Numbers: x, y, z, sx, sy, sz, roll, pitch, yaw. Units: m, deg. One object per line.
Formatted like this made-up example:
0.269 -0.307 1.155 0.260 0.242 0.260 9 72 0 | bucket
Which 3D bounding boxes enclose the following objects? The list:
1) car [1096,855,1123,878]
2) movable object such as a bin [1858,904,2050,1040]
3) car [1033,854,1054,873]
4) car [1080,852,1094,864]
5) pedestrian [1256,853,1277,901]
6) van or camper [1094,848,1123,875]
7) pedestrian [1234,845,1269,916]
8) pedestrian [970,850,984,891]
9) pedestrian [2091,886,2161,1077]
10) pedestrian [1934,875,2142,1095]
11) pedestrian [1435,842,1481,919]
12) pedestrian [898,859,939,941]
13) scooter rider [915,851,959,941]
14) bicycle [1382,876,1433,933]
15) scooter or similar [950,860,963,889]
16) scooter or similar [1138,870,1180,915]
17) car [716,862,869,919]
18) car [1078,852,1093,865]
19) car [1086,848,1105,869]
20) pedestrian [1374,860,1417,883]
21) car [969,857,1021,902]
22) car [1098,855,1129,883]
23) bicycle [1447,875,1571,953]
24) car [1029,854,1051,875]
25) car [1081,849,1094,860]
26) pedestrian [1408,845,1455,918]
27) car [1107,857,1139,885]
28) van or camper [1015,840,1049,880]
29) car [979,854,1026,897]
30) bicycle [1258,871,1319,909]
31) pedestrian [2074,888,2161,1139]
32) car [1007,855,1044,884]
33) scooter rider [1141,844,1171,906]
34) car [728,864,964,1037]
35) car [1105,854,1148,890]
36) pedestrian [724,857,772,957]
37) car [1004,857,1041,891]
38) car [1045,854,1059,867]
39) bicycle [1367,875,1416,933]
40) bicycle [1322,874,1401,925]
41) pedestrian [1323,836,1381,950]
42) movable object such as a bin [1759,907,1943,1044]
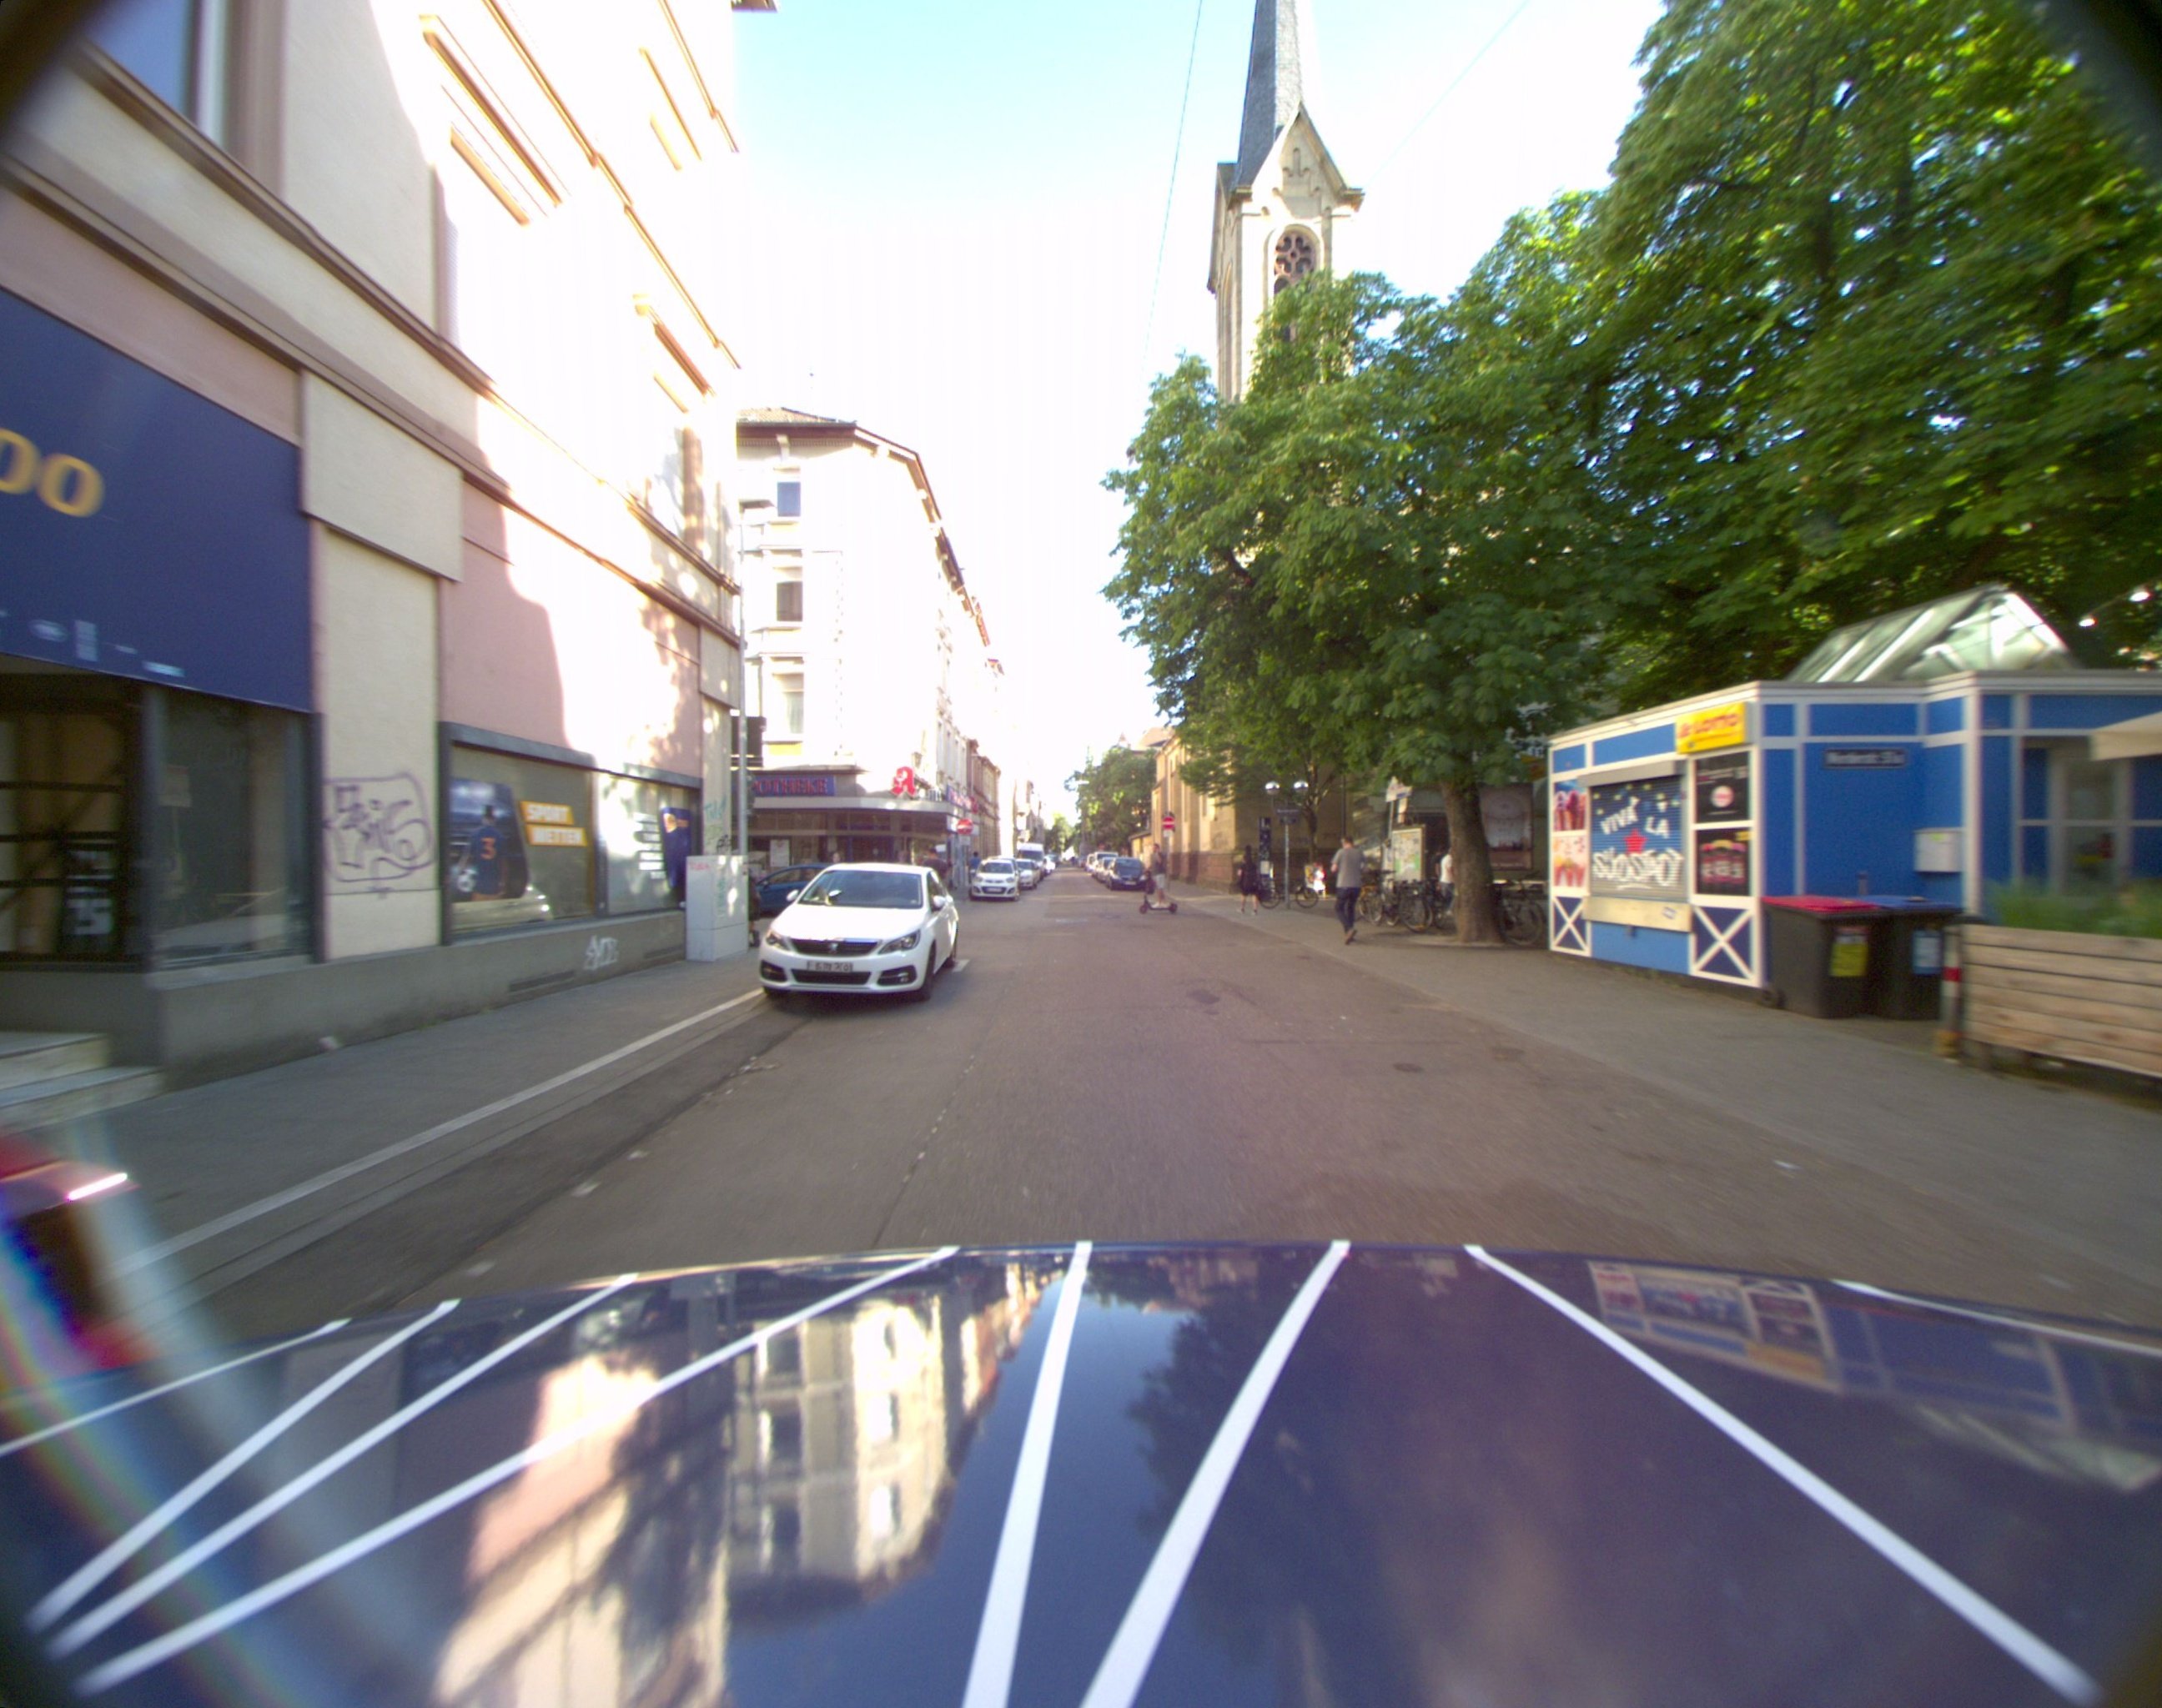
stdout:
1.944 0.819 52.306 1.696 1.472 3.736 -1 0 -1 | car
7.797 1.026 6.825 0.872 1.080 0.745 -1 1 0 | movable object such as a bin
-3.351 0.823 68.559 1.696 1.615 3.962 -1 0 -1 | car
0.799 0.593 108.347 1.777 1.614 4.021 -1 0 -2 | car
6.281 0.759 25.780 0.480 1.584 0.714 -1 1 -4 | pedestrian
2.066 0.548 58.206 1.984 1.939 4.562 -1 0 -1 | van or camper
4.571 0.686 20.389 0.718 1.862 0.720 -1 1 -1 | pedestrian
-4.945 0.778 36.023 0.563 1.883 0.530 -1 1 -2 | pedestrian
7.984 0.908 5.434 0.707 1.323 0.617 -1 1 -2 | pedestrian
6.758 0.887 5.402 0.707 1.437 0.617 -1 1 -2 | pedestrian
9.184 0.628 18.529 0.763 1.825 0.688 -1 1 -3 | pedestrian
-3.355 0.935 15.698 0.527 1.629 0.566 0 2 43 | pedestrian
-2.912 0.830 15.367 0.609 1.768 0.566 0 2 39 | scooter rider
6.477 0.973 15.121 0.293 1.040 1.578 -1 -1 -1 | bicycle
-5.664 0.918 34.618 0.396 1.272 1.036 -1 1 -1 | scooter or similar
2.130 1.048 20.715 1.057 1.153 0.514 -1 1 -2 | scooter or similar
-7.966 0.989 21.248 3.583 1.477 1.788 0 1 -1 | car
0.601 0.609 103.688 1.777 1.614 4.021 -1 0 -2 | car
1.513 0.458 79.723 1.777 2.128 4.022 -1 0 -1 | car
11.418 0.640 27.663 0.959 0.756 1.406 -1 1 -1 | pedestrian
-3.120 0.882 28.165 1.694 1.454 3.639 -1 1 -4 | car
1.960 0.879 47.046 1.724 1.558 3.999 -1 1 0 | car
7.033 0.943 12.623 0.499 1.124 2.035 -2 0 -14 | bicycle
-3.373 0.851 63.147 1.696 1.615 3.813 -1 0 -1 | car
0.978 0.131 114.198 1.777 1.614 4.021 -1 0 -2 | car
8.935 0.677 19.399 0.695 1.815 1.003 -1 1 -3 | pedestrian
2.264 0.888 41.909 1.576 1.356 4.145 -1 1 0 | car
-3.411 0.374 54.174 1.999 2.617 5.978 -1 1 -1 | van or camper
-3.349 0.870 33.045 1.704 1.641 4.062 -1 1 -2 | car
6.129 1.067 22.410 1.694 1.059 0.346 -1 1 -3 | bicycle
6.659 0.943 4.519 0.707 1.437 0.617 -1 1 -2 | pedestrian
-3.468 0.947 48.316 1.999 1.637 4.562 -1 1 -1 | car
2.048 0.558 20.769 0.689 1.638 0.720 -1 1 -2 | scooter rider
-2.566 0.952 9.367 1.792 1.507 4.134 -1 1 -3 | car
2.178 0.834 36.922 1.799 1.543 3.833 -1 1 -1 | car
-5.571 0.872 12.715 0.599 1.640 0.466 -1 -2 30 | pedestrian
-2.900 0.976 38.344 1.558 1.518 4.200 -1 1 -1 | car
-3.746 0.835 98.404 1.696 1.615 3.962 -1 0 -1 | car
6.155 0.962 15.118 0.293 1.076 1.578 -1 0 -1 | bicycle
6.177 1.005 16.770 1.576 1.076 0.347 -1 1 10 | bicycle
4.507 0.626 12.669 0.648 1.823 0.697 -2 1 -1 | pedestrian
6.878 1.057 6.829 0.872 1.080 0.774 -1 1 0 | movable object such as a bin
